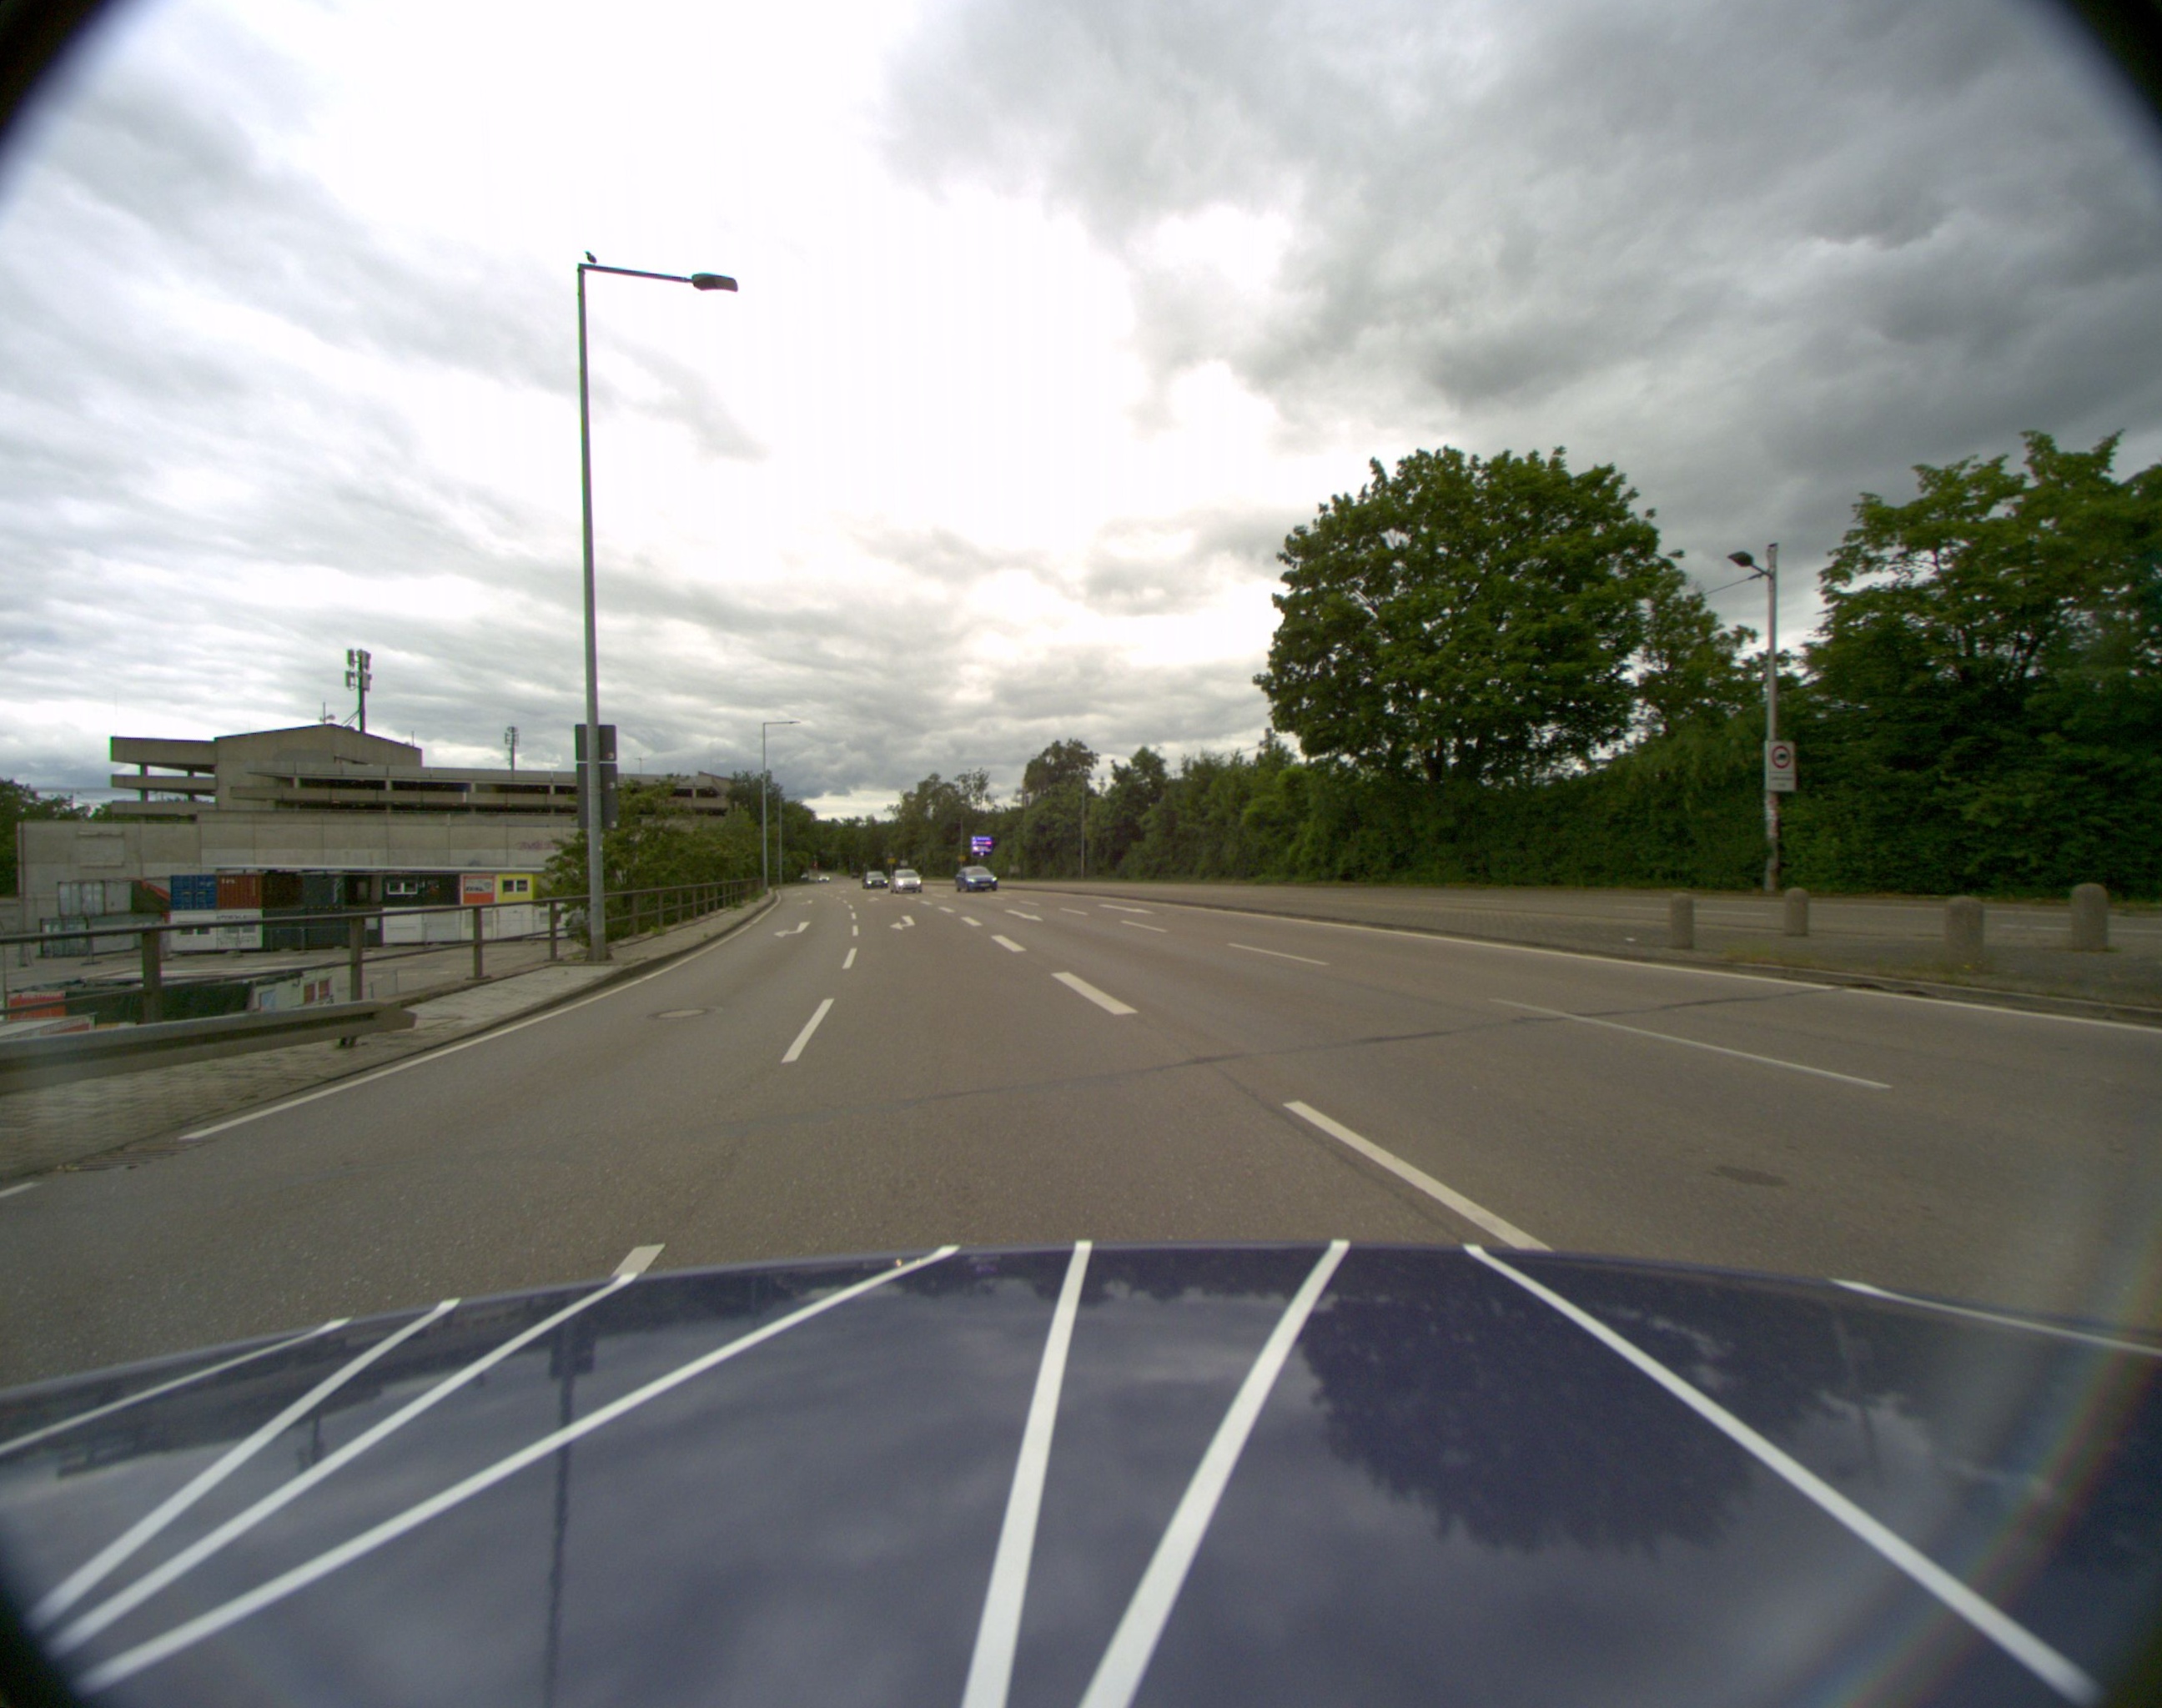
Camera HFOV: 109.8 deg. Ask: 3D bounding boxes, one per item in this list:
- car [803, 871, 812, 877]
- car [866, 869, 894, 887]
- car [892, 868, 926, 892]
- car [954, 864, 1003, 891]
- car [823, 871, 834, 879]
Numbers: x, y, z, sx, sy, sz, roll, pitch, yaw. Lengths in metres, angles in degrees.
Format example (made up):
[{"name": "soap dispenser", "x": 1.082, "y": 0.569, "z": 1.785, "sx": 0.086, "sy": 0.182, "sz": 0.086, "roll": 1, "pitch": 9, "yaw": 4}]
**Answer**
[{"name": "car", "x": -68.736, "y": 5.028, "z": 190.685, "sx": 1.868, "sy": 1.408, "sz": 4.331, "roll": -2, "pitch": 0, "yaw": -22}, {"name": "car", "x": -16.972, "y": 1.969, "z": 64.052, "sx": 1.867, "sy": 1.408, "sz": 4.332, "roll": -2, "pitch": 0, "yaw": -19}, {"name": "car", "x": -10.819, "y": 1.616, "z": 47.701, "sx": 1.612, "sy": 1.408, "sz": 3.585, "roll": -2, "pitch": 0, "yaw": -20}, {"name": "car", "x": -6.093, "y": 1.353, "z": 44.771, "sx": 1.845, "sy": 1.408, "sz": 4.573, "roll": -2, "pitch": 0, "yaw": -20}, {"name": "car", "x": -47.211, "y": 3.922, "z": 142.112, "sx": 1.868, "sy": 1.408, "sz": 4.331, "roll": -2, "pitch": 0, "yaw": -20}]
